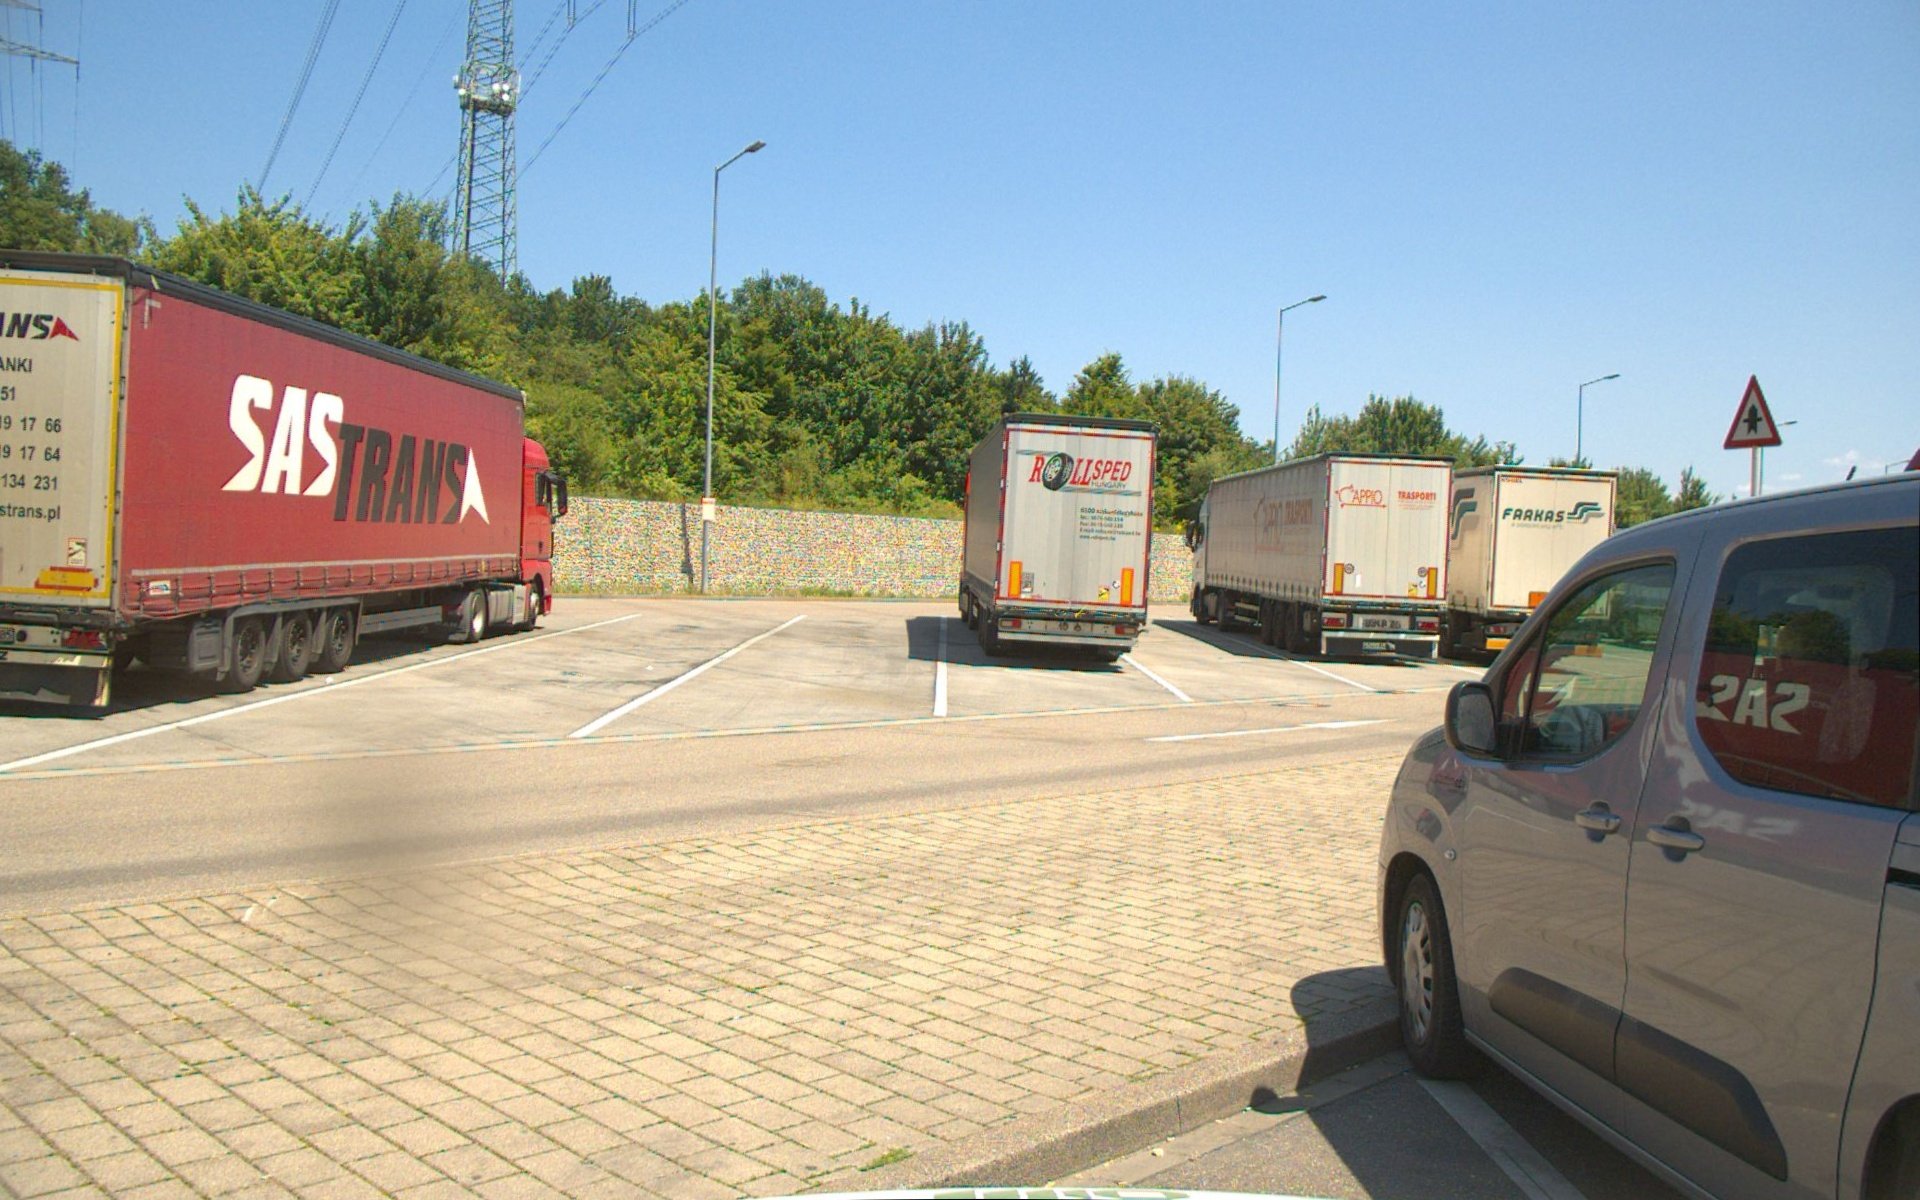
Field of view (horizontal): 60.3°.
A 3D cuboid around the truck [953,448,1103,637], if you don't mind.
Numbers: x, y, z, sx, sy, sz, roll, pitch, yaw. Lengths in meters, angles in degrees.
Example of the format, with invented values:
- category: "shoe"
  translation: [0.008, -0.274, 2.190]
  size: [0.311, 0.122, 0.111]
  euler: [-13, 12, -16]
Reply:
- category: "truck"
  translation: [1.457, -1.375, 39.444]
  size: [2.965, 3.997, 6.845]
  euler: [2, 2, -2]

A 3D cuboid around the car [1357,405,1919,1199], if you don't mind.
- category: "car"
  translation: [2.425, 0.557, 3.816]
  size: [1.790, 1.784, 3.997]
  euler: [1, 1, -4]

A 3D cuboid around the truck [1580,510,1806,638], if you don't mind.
- category: "truck"
  translation: [21.948, -0.800, 50.186]
  size: [2.963, 3.497, 8.529]
  euler: [1, 1, -1]

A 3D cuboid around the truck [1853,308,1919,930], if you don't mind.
- category: "truck"
  translation: [4.971, 0.130, 4.937]
  size: [1.952, 2.669, 5.305]
  euler: [1, 1, 3]

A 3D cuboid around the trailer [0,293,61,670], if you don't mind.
- category: "trailer"
  translation: [-12.417, -1.310, 15.447]
  size: [2.689, 4.337, 9.733]
  euler: [1, 1, 0]

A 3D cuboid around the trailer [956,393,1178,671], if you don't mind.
- category: "trailer"
  translation: [1.690, -1.311, 32.679]
  size: [3.008, 4.301, 12.805]
  euler: [2, 2, -2]

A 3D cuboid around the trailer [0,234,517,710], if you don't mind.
- category: "trailer"
  translation: [-8.689, -1.258, 21.036]
  size: [2.694, 4.128, 13.284]
  euler: [1, 1, -1]

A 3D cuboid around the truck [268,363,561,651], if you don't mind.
- category: "truck"
  translation: [-8.784, -1.419, 27.539]
  size: [2.687, 4.152, 6.828]
  euler: [1, 1, -1]

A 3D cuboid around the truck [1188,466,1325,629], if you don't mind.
- category: "truck"
  translation: [8.063, -1.405, 45.609]
  size: [2.701, 4.196, 5.283]
  euler: [1, 1, -1]

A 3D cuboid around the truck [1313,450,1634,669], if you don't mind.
- category: "truck"
  translation: [11.707, -0.951, 39.994]
  size: [2.846, 4.195, 14.525]
  euler: [3, 1, -1]

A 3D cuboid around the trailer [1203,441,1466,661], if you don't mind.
- category: "trailer"
  translation: [8.196, -1.081, 38.610]
  size: [2.818, 4.196, 13.569]
  euler: [1, 1, -1]
